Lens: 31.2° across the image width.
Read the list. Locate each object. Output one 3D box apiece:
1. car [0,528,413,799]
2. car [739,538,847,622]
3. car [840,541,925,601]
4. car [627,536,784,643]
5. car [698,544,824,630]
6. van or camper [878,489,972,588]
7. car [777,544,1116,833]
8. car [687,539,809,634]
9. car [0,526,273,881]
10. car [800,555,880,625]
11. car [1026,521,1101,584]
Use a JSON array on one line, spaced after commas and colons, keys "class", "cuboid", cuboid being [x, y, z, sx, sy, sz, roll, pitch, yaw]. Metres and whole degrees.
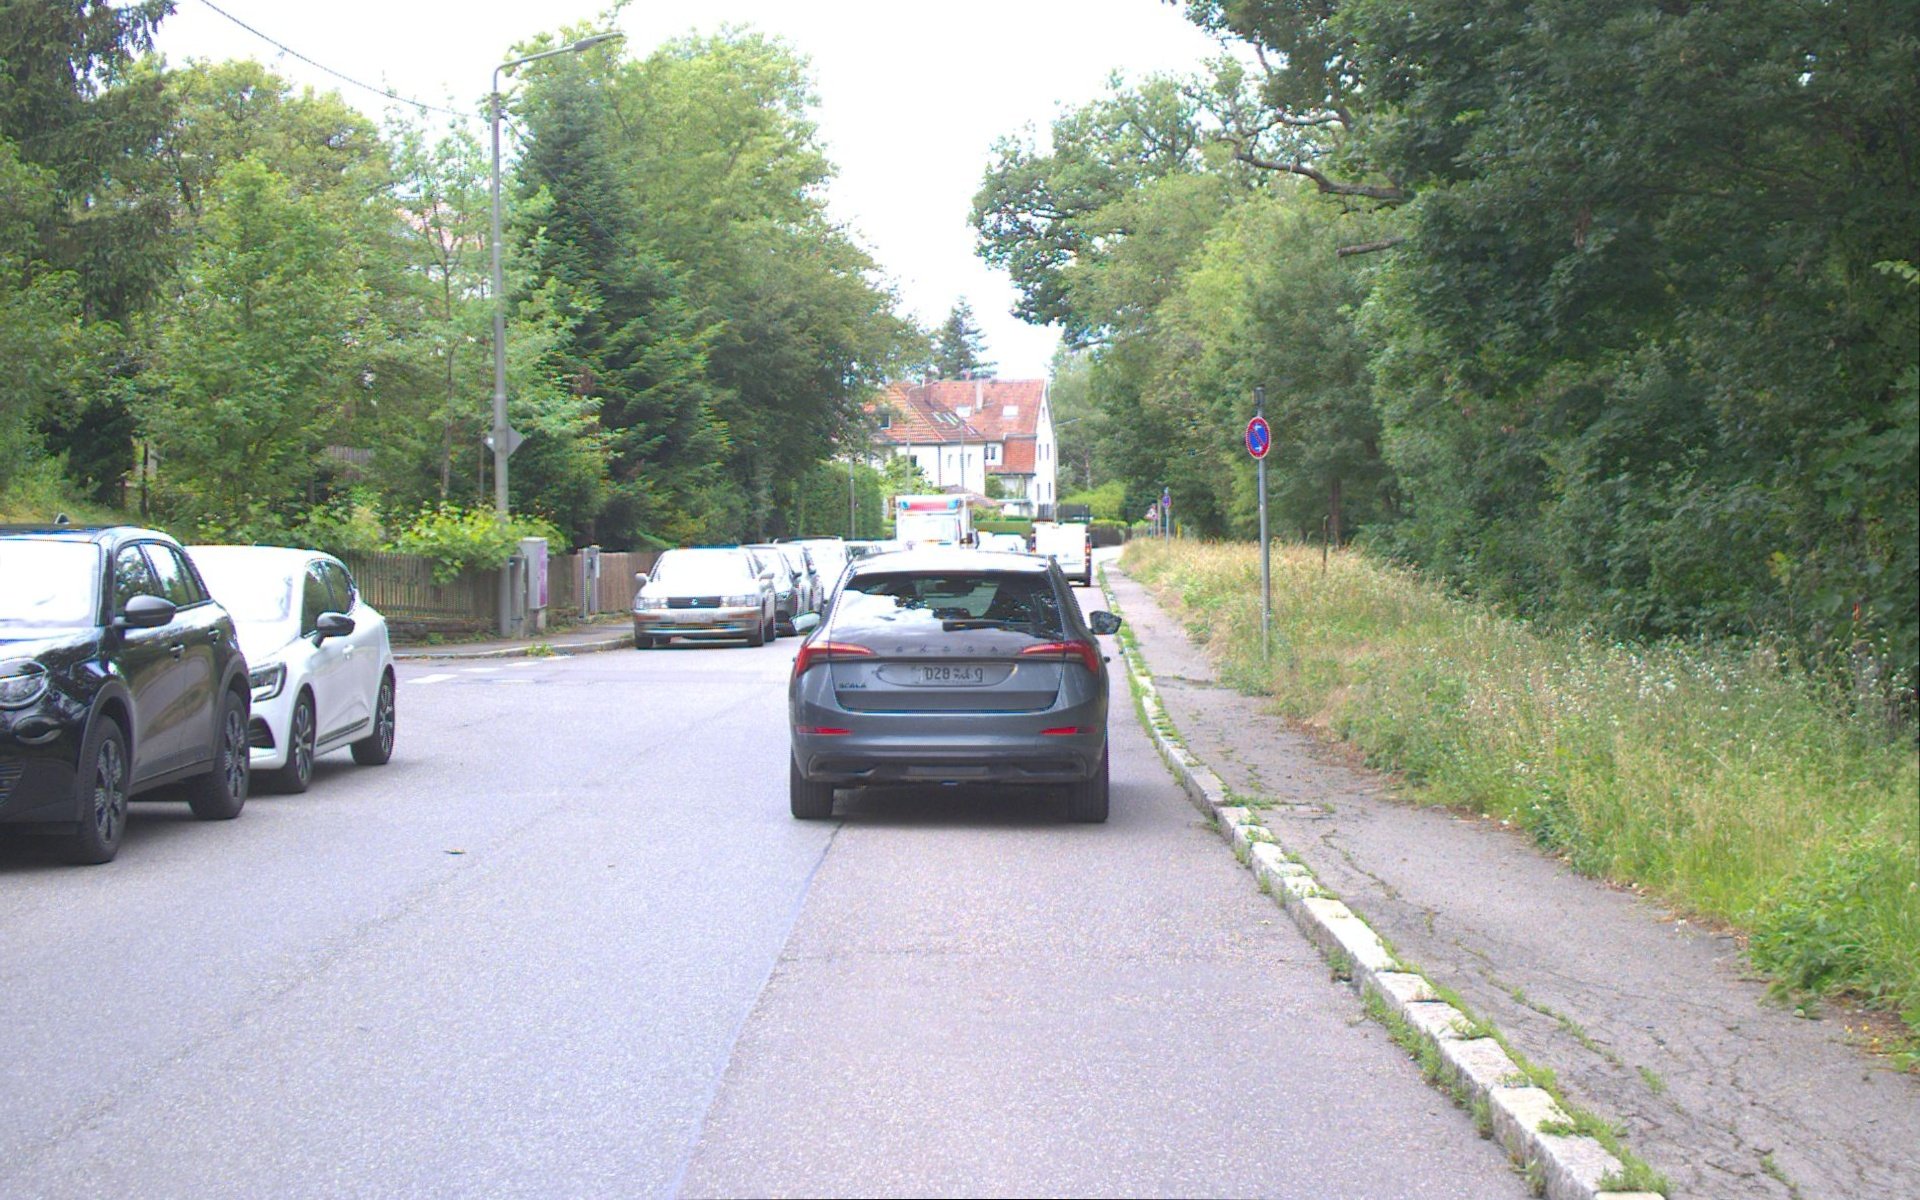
[{"class": "car", "cuboid": [-4.633, 0.318, 21.319, 1.783, 1.495, 4.015, 1, 1, 1]}, {"class": "car", "cuboid": [-3.293, -0.427, 68.609, 1.916, 1.556, 4.604, -2, 1, 0]}, {"class": "car", "cuboid": [-2.033, -0.792, 91.480, 1.798, 1.499, 4.863, -2, 1, 4]}, {"class": "car", "cuboid": [-3.603, -0.179, 49.463, 1.848, 1.434, 4.910, -1, 1, 0]}, {"class": "car", "cuboid": [-3.485, -0.251, 60.924, 1.834, 1.434, 4.116, -1, 1, 2]}, {"class": "van or camper", "cuboid": [-1.118, -1.865, 104.788, 2.456, 2.885, 7.169, -1, 1, -4]}, {"class": "car", "cuboid": [-0.099, 0.420, 19.864, 1.728, 1.434, 4.324, 1, 1, -1]}, {"class": "car", "cuboid": [-3.386, -0.244, 55.542, 1.734, 1.434, 4.263, -1, 1, -1]}, {"class": "car", "cuboid": [-4.647, 0.397, 16.640, 1.783, 1.495, 4.015, 1, 1, 1]}, {"class": "car", "cuboid": [-2.752, -0.252, 78.907, 1.720, 1.499, 4.008, -2, 1, -2]}, {"class": "car", "cuboid": [3.223, -1.512, 107.753, 2.071, 1.915, 4.923, 1, 1, -1]}]
